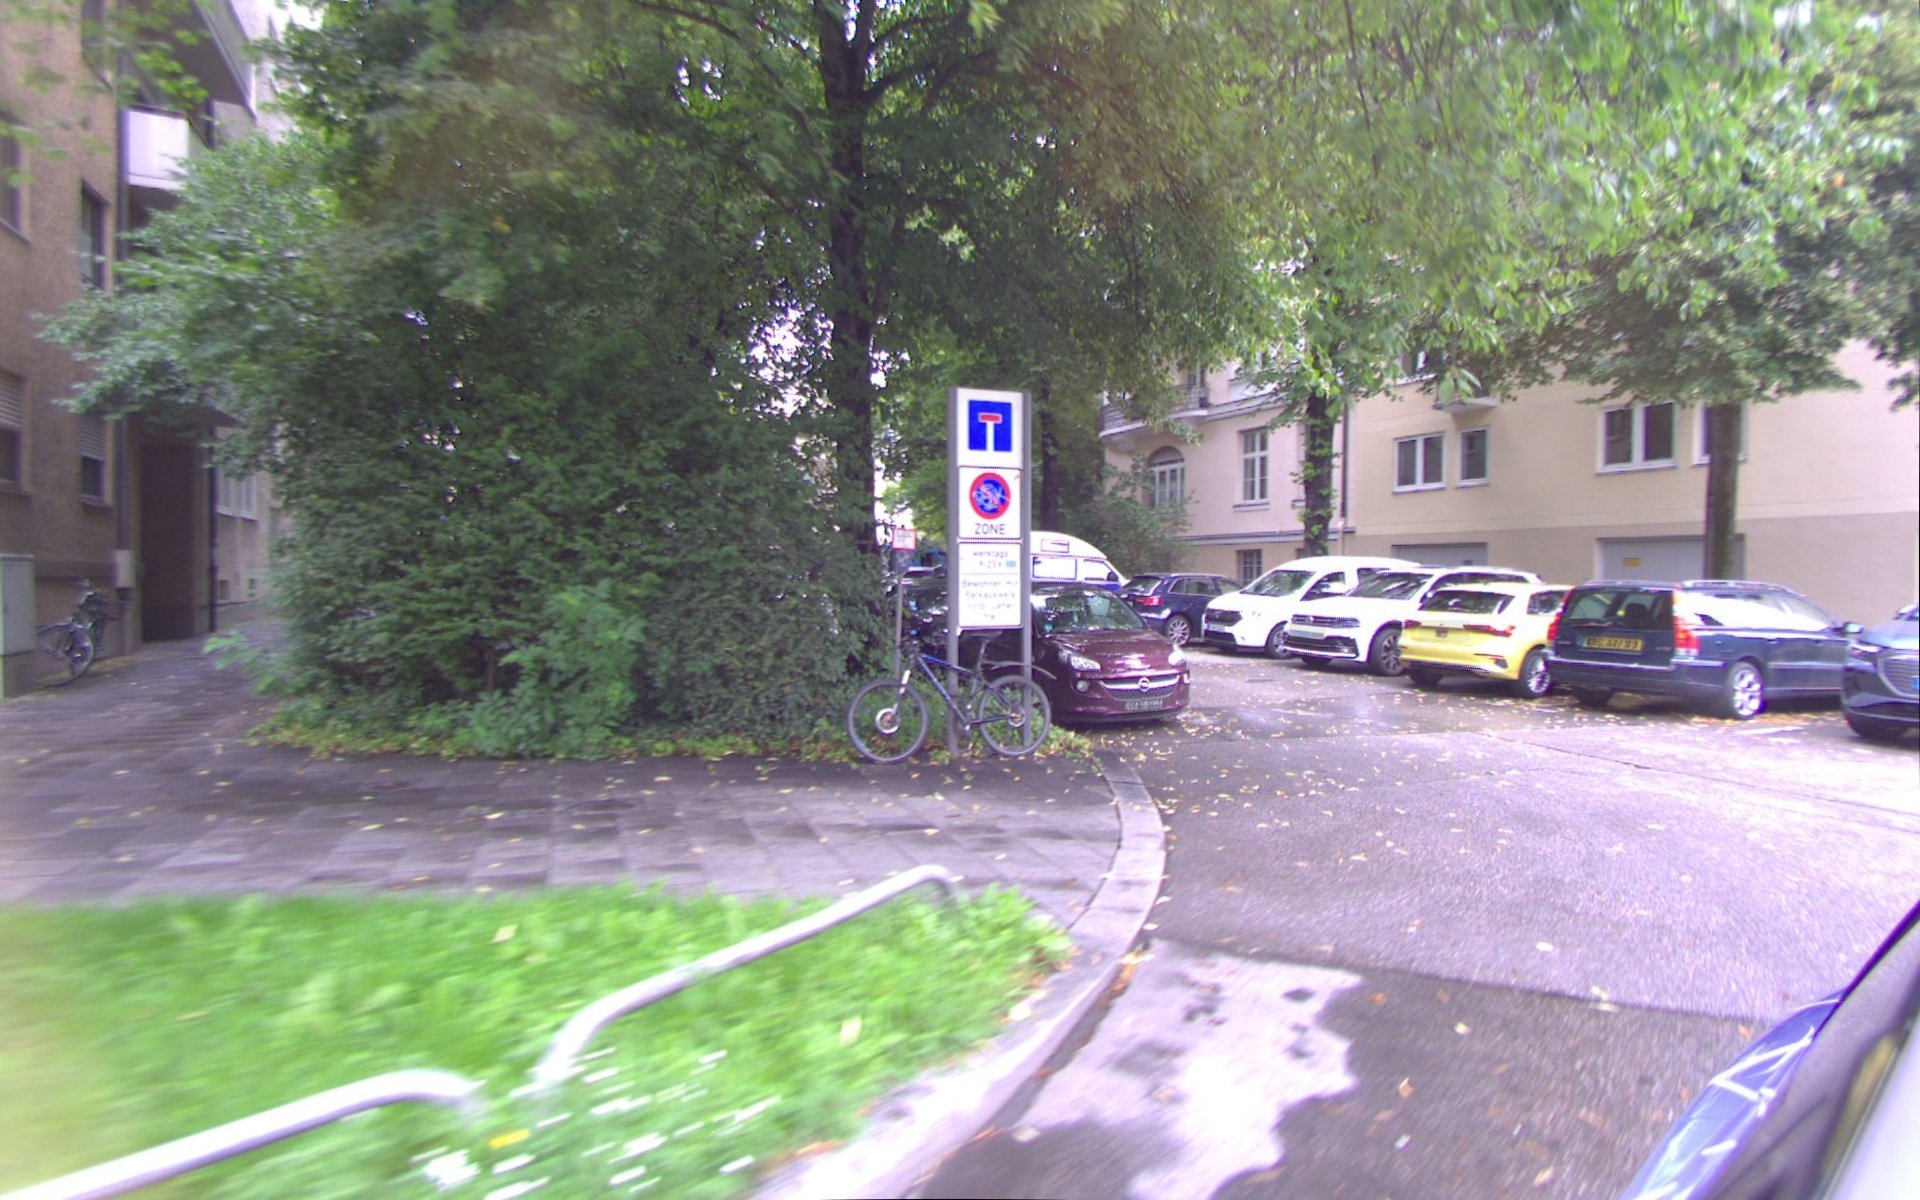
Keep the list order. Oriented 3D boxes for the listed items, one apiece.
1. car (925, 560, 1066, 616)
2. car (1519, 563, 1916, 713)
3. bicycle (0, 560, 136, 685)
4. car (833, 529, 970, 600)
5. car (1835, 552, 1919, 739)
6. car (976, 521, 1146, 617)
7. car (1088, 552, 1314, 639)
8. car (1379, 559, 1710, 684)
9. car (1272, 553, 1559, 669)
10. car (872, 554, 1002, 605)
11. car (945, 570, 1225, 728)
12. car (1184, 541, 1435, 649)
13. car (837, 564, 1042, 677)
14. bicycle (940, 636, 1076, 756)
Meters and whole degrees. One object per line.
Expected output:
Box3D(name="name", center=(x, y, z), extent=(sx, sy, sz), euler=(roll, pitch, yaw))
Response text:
Box3D(name="car", center=(1.127, -0.389, 30.930), extent=(4.047, 1.623, 1.897), euler=(0, 2, 13))
Box3D(name="car", center=(8.891, 0.319, 11.885), extent=(4.158, 1.485, 2.058), euler=(-1, 2, -26))
Box3D(name="bicycle", center=(-9.861, 0.176, 11.093), extent=(0.689, 1.232, 2.437), euler=(-1, 2, -25))
Box3D(name="car", center=(-2.061, -1.273, 36.494), extent=(4.616, 2.441, 1.973), euler=(0, 1, 11))
Box3D(name="car", center=(10.143, 0.359, 9.184), extent=(4.158, 1.584, 1.829), euler=(-1, 2, -26))
Box3D(name="car", center=(2.496, -0.794, 25.767), extent=(4.101, 2.342, 1.904), euler=(0, 1, 0))
Box3D(name="car", center=(4.867, -0.142, 20.442), extent=(4.158, 1.619, 1.922), euler=(-1, 2, -25))
Box3D(name="car", center=(7.993, 0.193, 13.827), extent=(4.158, 1.485, 1.922), euler=(-1, 2, -26))
Box3D(name="car", center=(7.194, 0.096, 15.972), extent=(4.158, 1.640, 1.922), euler=(-1, 2, -26))
Box3D(name="car", center=(-0.732, -0.701, 33.792), extent=(4.044, 1.623, 1.898), euler=(0, 1, 11))
Box3D(name="car", center=(1.266, 0.418, 11.820), extent=(1.697, 1.515, 3.717), euler=(-1, 2, -21))
Box3D(name="car", center=(6.365, -0.137, 18.432), extent=(4.158, 1.772, 1.922), euler=(-1, 2, -25))
Box3D(name="car", center=(-0.468, 0.203, 15.712), extent=(1.698, 1.515, 4.054), euler=(-1, 2, -25))
Box3D(name="bicycle", center=(0.387, 0.755, 8.097), extent=(1.057, 0.891, 0.250), euler=(-1, 1, -15))
